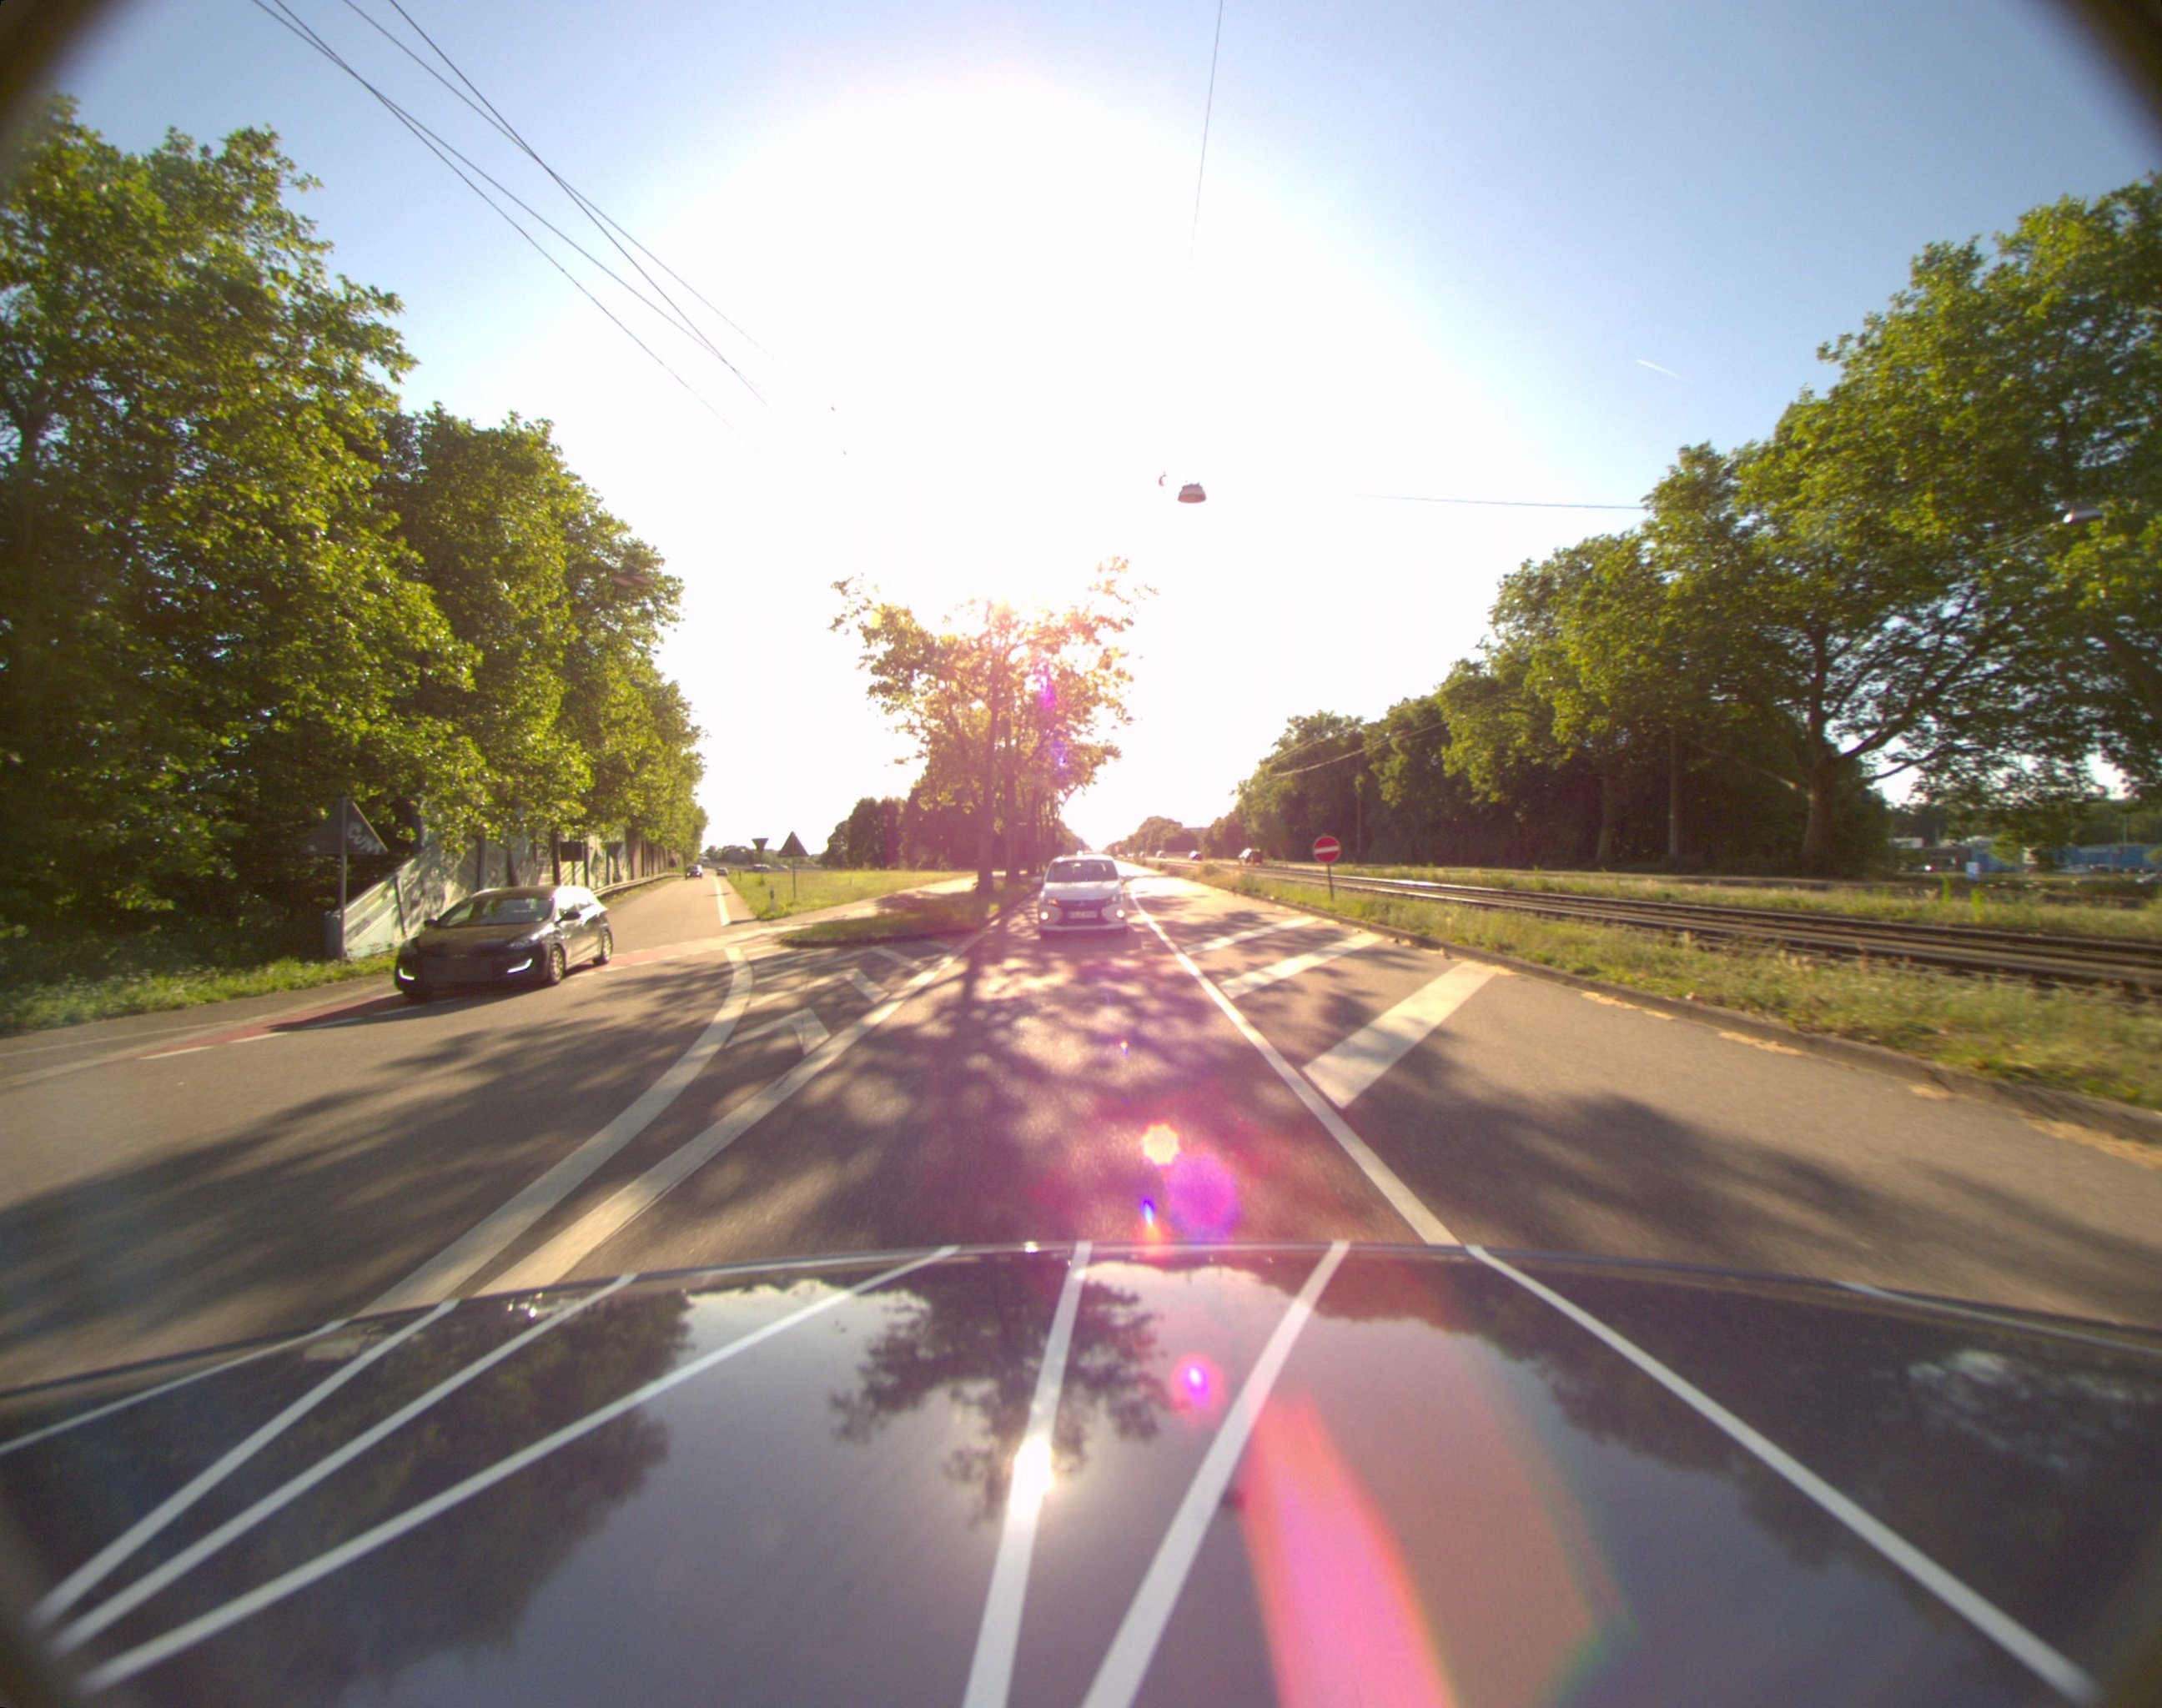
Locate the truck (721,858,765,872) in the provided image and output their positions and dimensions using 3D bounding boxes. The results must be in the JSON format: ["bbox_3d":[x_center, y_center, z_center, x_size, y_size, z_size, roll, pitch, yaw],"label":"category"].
[{"bbox_3d":[-93.474,2.943,210.191,10.626,3.474,2.646,3,-1,-28],"label":"truck"}]

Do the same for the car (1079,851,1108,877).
[{"bbox_3d":[0.790,0.595,47.569,1.709,1.512,3.844,-2,1,1],"label":"car"}]

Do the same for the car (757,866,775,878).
[{"bbox_3d":[-40.489,2.288,97.676,1.697,1.409,4.126,-3,1,-28],"label":"car"}]

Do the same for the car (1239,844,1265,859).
[{"bbox_3d":[20.071,-0.334,89.386,1.903,1.684,4.940,1,1,-1],"label":"car"}]

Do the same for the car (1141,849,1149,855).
[{"bbox_3d":[18.983,-0.603,225.429,1.851,1.724,4.930,1,1,-1],"label":"car"}]

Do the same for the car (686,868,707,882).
[{"bbox_3d":[-41.758,2.275,82.595,1.800,1.432,4.215,-3,1,-25],"label":"car"}]

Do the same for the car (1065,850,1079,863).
[{"bbox_3d":[-1.327,0.332,111.755,1.886,1.790,3.644,-2,1,-1],"label":"car"}]

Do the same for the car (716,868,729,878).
[{"bbox_3d":[-67.028,3.559,142.077,1.817,1.762,3.855,-3,1,-23],"label":"car"}]

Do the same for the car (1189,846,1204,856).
[{"bbox_3d":[19.258,-0.489,127.182,1.715,1.459,4.347,1,0,-1],"label":"car"}]

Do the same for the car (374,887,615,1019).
[{"bbox_3d":[-8.910,1.367,12.013,1.800,1.432,4.216,-3,1,-21],"label":"car"}]

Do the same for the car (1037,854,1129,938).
[{"bbox_3d":[0.076,0.813,16.496,1.709,1.503,3.862,-2,1,1],"label":"car"}]

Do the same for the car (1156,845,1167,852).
[{"bbox_3d":[18.821,-1.293,177.660,1.968,1.697,4.943,1,1,-2],"label":"car"}]

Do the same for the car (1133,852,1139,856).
[{"bbox_3d":[19.083,-0.033,263.937,1.695,1.547,4.190,1,1,0],"label":"car"}]
